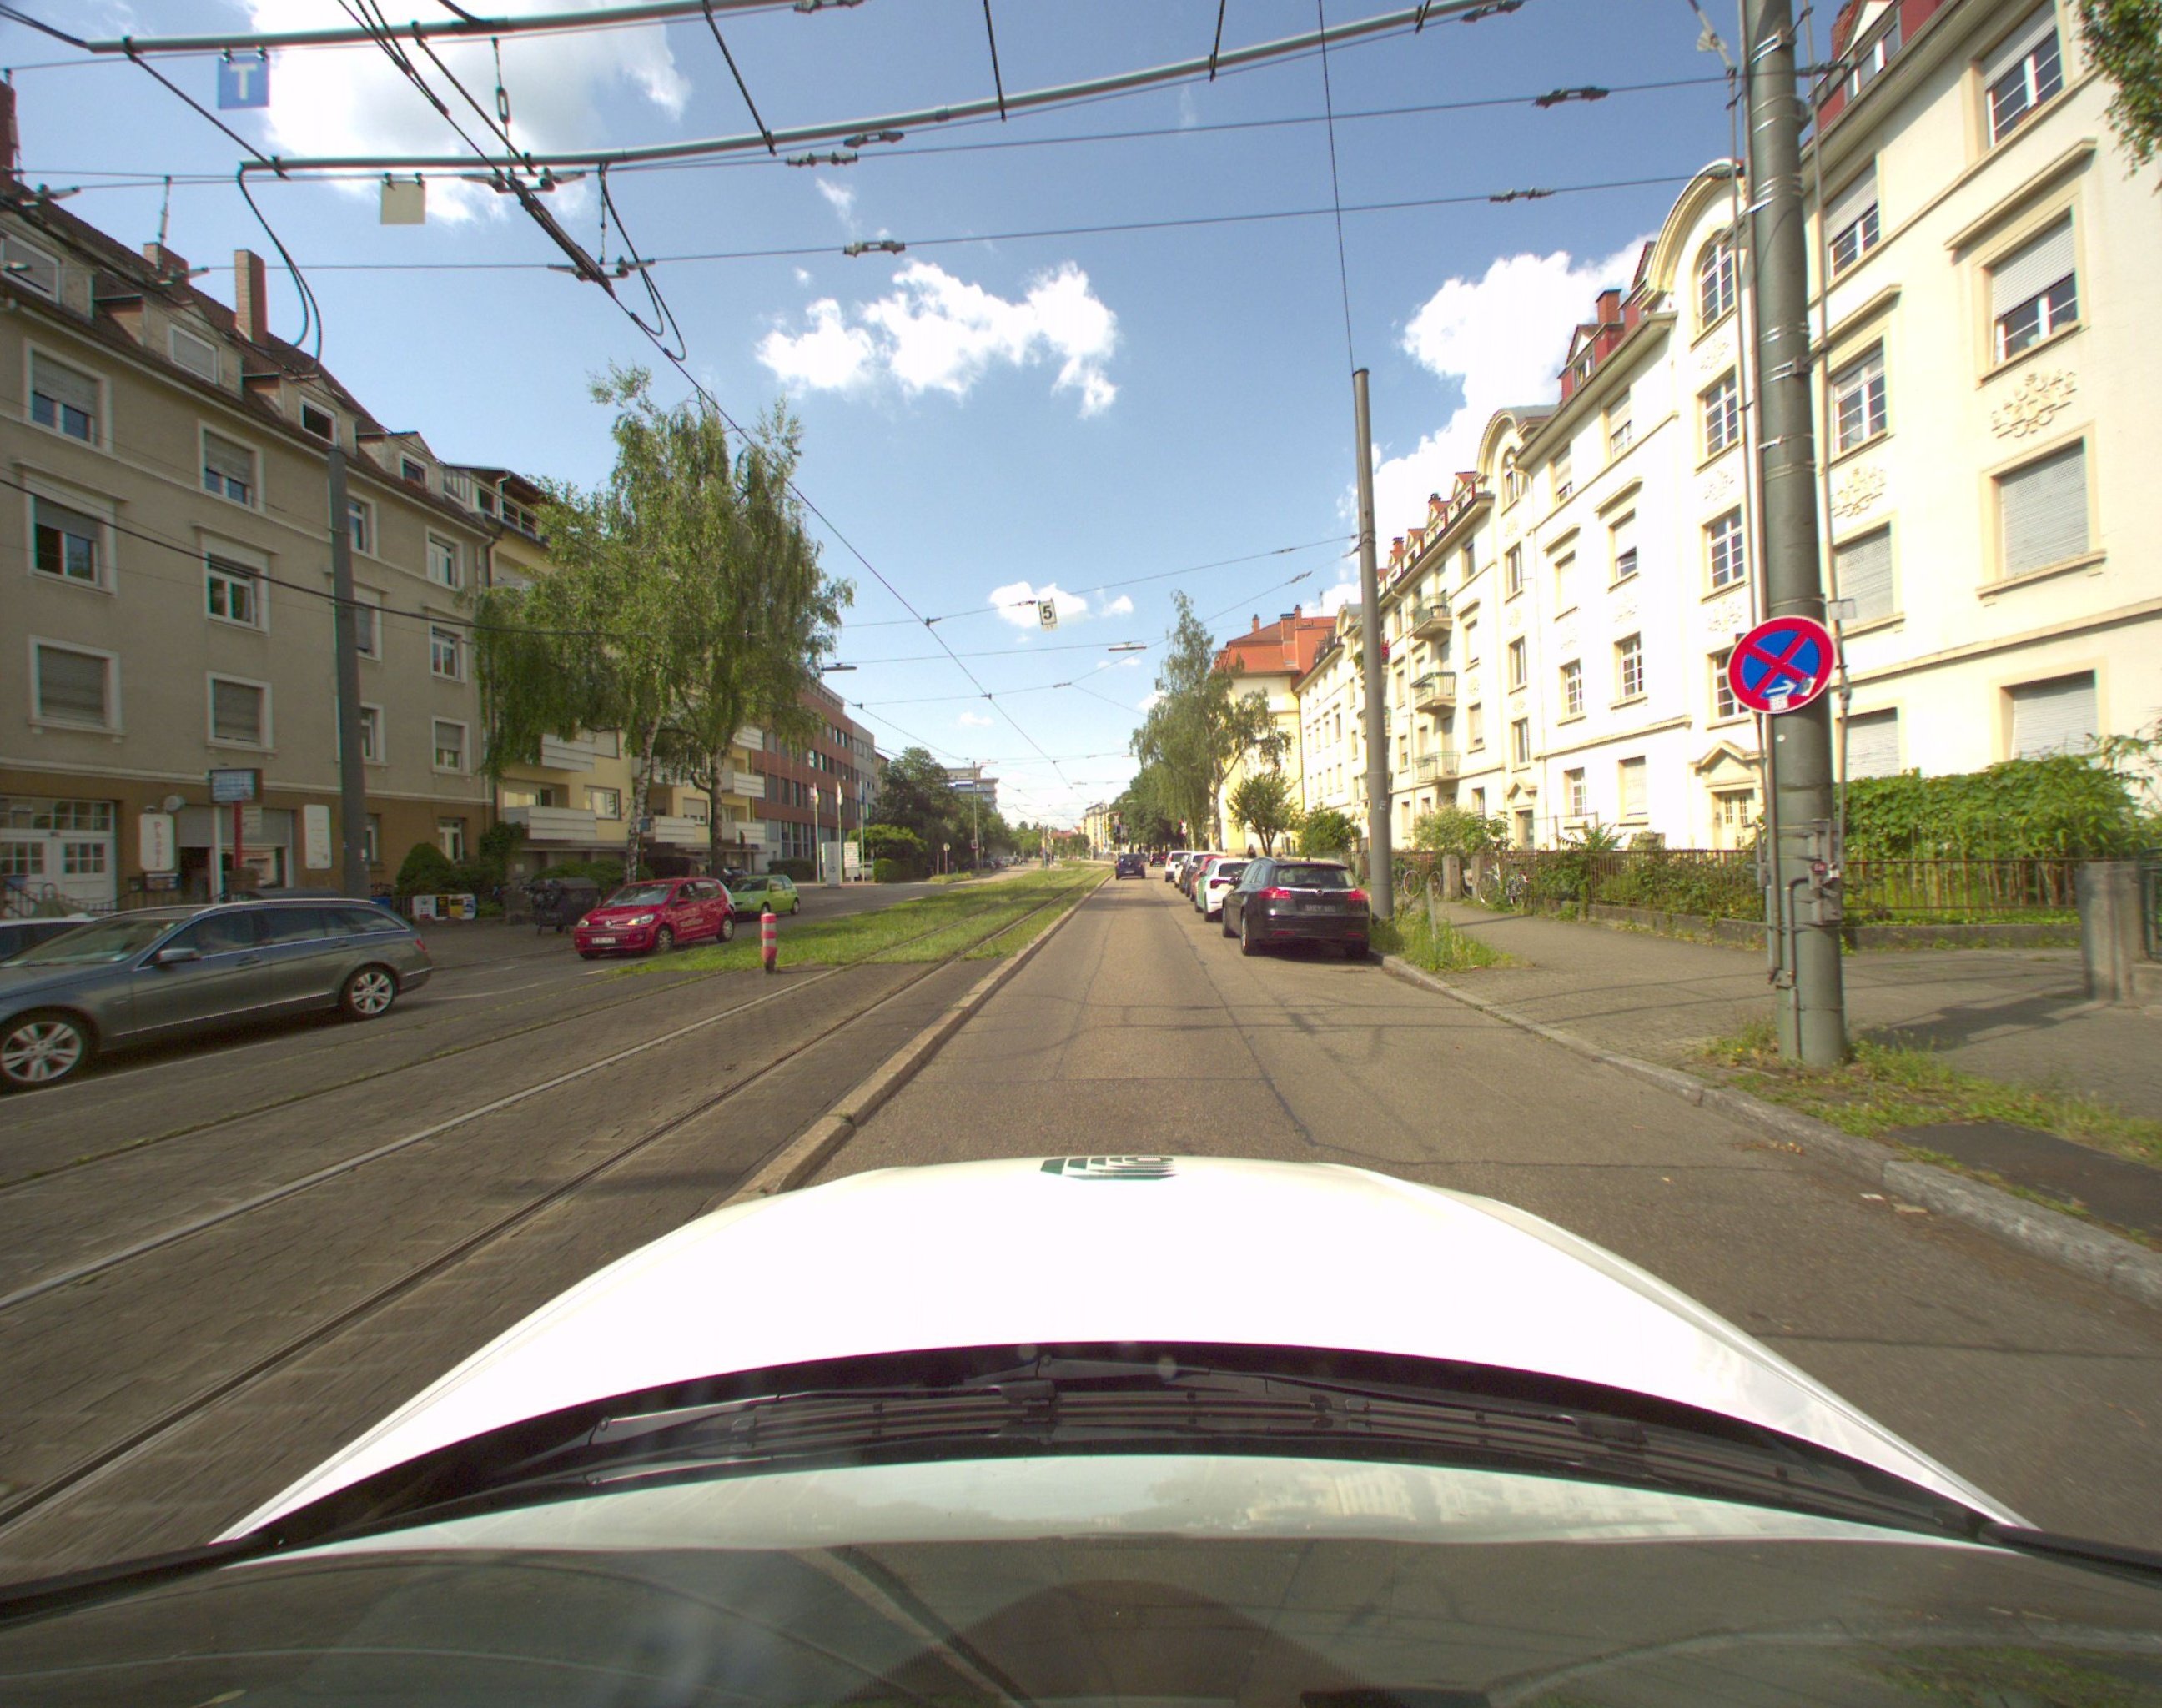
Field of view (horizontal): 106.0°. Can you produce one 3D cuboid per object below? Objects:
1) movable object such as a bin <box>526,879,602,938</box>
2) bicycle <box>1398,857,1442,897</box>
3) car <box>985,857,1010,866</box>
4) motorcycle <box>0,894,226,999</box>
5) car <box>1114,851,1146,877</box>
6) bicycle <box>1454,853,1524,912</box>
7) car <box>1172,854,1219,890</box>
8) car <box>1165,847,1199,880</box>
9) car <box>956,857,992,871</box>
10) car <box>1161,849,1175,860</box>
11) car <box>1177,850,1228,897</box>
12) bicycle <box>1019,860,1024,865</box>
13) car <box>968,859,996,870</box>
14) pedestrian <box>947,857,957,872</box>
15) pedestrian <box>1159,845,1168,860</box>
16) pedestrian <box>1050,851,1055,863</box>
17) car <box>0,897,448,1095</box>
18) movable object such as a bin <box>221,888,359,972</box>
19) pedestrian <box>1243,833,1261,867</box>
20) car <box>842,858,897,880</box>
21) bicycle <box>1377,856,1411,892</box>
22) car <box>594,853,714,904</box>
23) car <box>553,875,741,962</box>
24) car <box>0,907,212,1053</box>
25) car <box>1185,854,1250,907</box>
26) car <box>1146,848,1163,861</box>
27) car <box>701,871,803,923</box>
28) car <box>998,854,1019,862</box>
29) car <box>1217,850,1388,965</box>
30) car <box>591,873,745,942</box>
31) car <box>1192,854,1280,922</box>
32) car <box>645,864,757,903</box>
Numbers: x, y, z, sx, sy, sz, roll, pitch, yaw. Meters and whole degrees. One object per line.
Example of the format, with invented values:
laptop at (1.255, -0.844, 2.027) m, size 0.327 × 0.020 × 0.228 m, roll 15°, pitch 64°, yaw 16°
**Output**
movable object such as a bin at (-13.389, 1.382, 21.148) m, size 0.947 × 1.430 × 1.523 m, roll 0°, pitch 0°, yaw 3°
bicycle at (8.504, 0.553, 20.498) m, size 0.376 × 0.943 × 2.011 m, roll -2°, pitch 0°, yaw 4°
car at (-14.458, 1.246, 141.511) m, size 4.023 × 1.367 × 1.695 m, roll -3°, pitch 0°, yaw -43°
motorcycle at (-14.097, 1.272, 11.845) m, size 0.898 × 1.242 × 2.293 m, roll -2°, pitch 0°, yaw -2°
car at (2.951, 0.554, 48.247) m, size 1.759 × 1.462 × 3.781 m, roll -2°, pitch 0°, yaw 5°
bicycle at (8.193, 0.542, 16.464) m, size 0.469 × 1.077 × 2.186 m, roll -2°, pitch 0°, yaw 5°
car at (4.810, 0.707, 34.585) m, size 1.665 × 1.417 × 3.799 m, roll 1°, pitch 0°, yaw 3°
car at (5.310, 0.457, 42.898) m, size 1.712 × 1.629 × 4.008 m, roll 0°, pitch 0°, yaw 7°
car at (-13.380, 1.241, 101.983) m, size 4.155 × 1.640 × 1.705 m, roll -2°, pitch 0°, yaw -41°
car at (13.032, 0.031, 122.400) m, size 1.853 × 1.445 × 4.004 m, roll -4°, pitch 0°, yaw 3°
car at (4.365, 0.659, 29.644) m, size 1.487 × 1.579 × 3.762 m, roll 0°, pitch 0°, yaw 3°
bicycle at (-11.660, 1.606, 159.629) m, size 0.678 × 0.971 × 2.180 m, roll -3°, pitch 0°, yaw 2°
car at (-13.023, 1.381, 107.503) m, size 3.407 × 1.236 × 1.526 m, roll -2°, pitch 0°, yaw -41°
pedestrian at (-14.480, 1.185, 91.451) m, size 0.741 × 1.574 × 0.891 m, roll -2°, pitch -2°, yaw 6°
pedestrian at (9.614, -0.166, 94.945) m, size 0.868 × 1.775 × 1.003 m, roll -1°, pitch 0°, yaw -1°
pedestrian at (-4.470, 0.480, 128.310) m, size 0.601 × 1.766 × 0.640 m, roll -2°, pitch 0°, yaw 7°
car at (-9.240, 1.286, 8.254) m, size 1.746 × 1.356 × 4.519 m, roll -4°, pitch 0°, yaw 6°
movable object such as a bin at (-14.195, 1.326, 14.678) m, size 0.947 × 1.367 × 1.523 m, roll 0°, pitch 0°, yaw 3°
pedestrian at (8.822, -0.209, 42.043) m, size 0.726 × 1.683 × 0.692 m, roll -4°, pitch 0°, yaw 7°
car at (-17.474, 1.213, 67.387) m, size 3.973 × 1.596 × 2.000 m, roll -2°, pitch 0°, yaw 1°
bicycle at (8.603, 0.536, 22.451) m, size 0.386 × 0.938 × 1.587 m, roll -2°, pitch 0°, yaw 4°
car at (-17.590, 0.983, 33.635) m, size 3.965 × 2.013 × 1.941 m, roll 0°, pitch 0°, yaw 7°
car at (-8.667, 1.227, 16.664) m, size 1.571 × 1.387 × 3.697 m, roll -3°, pitch 0°, yaw 5°
car at (-11.821, 1.375, 8.136) m, size 1.746 × 1.356 × 4.001 m, roll -3°, pitch 0°, yaw 6°
car at (4.108, 0.749, 24.953) m, size 1.582 × 1.452 × 3.848 m, roll 1°, pitch 0°, yaw 4°
car at (7.887, 0.081, 87.682) m, size 1.693 × 1.368 × 3.517 m, roll 0°, pitch 0°, yaw 2°
car at (-10.754, 1.358, 26.878) m, size 1.586 × 1.432 × 3.619 m, roll -3°, pitch 0°, yaw 5°
car at (-15.318, 0.912, 171.920) m, size 4.019 × 1.447 × 1.709 m, roll -3°, pitch 1°, yaw -37°
car at (3.353, 0.713, 13.223) m, size 1.784 × 1.520 × 4.531 m, roll 1°, pitch 0°, yaw 3°
car at (-10.898, 1.345, 21.873) m, size 1.637 × 1.477 × 4.231 m, roll -3°, pitch 0°, yaw 5°
car at (3.630, 0.748, 19.673) m, size 1.612 × 1.452 × 3.923 m, roll -1°, pitch 0°, yaw 4°
car at (-16.749, 1.283, 35.994) m, size 3.969 × 1.602 × 1.975 m, roll 0°, pitch 0°, yaw 4°
